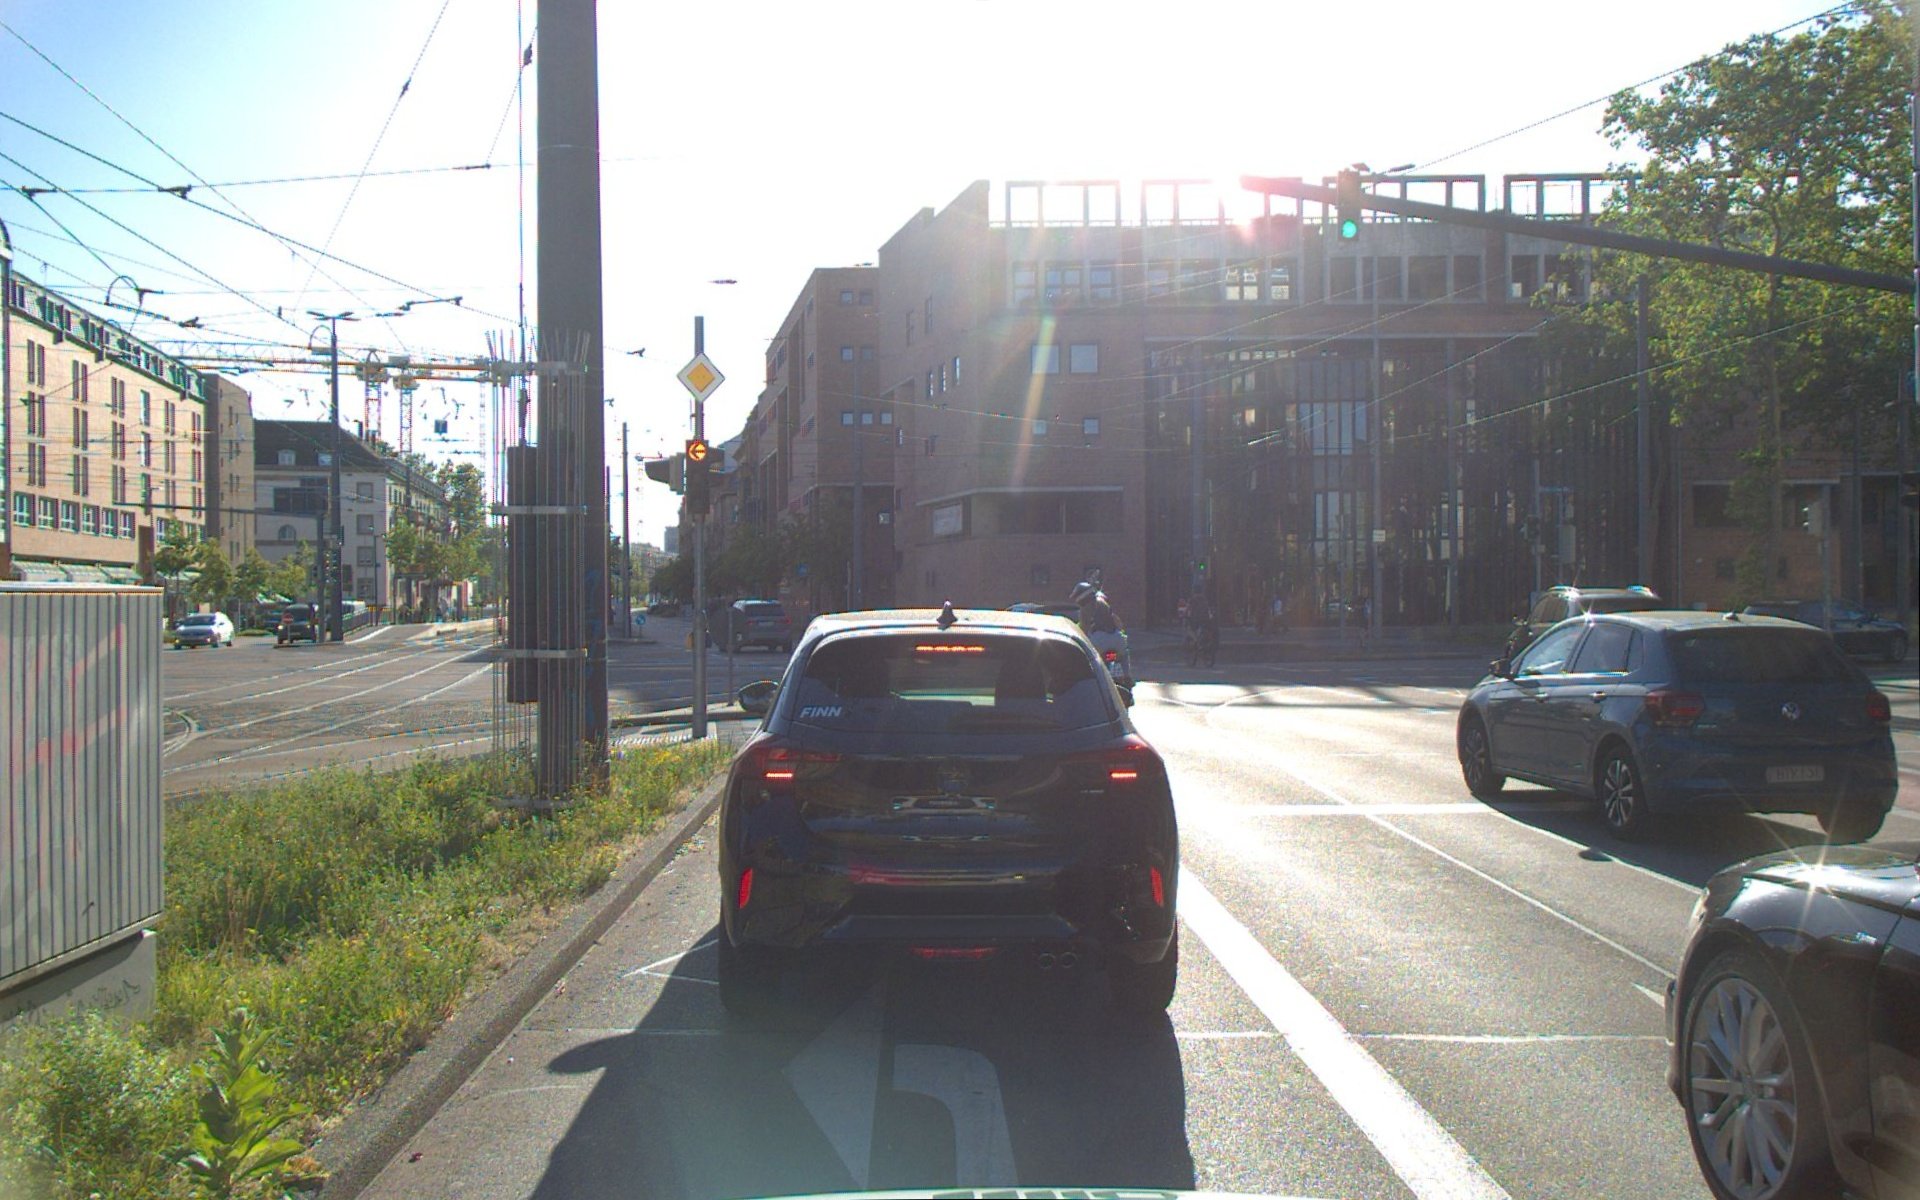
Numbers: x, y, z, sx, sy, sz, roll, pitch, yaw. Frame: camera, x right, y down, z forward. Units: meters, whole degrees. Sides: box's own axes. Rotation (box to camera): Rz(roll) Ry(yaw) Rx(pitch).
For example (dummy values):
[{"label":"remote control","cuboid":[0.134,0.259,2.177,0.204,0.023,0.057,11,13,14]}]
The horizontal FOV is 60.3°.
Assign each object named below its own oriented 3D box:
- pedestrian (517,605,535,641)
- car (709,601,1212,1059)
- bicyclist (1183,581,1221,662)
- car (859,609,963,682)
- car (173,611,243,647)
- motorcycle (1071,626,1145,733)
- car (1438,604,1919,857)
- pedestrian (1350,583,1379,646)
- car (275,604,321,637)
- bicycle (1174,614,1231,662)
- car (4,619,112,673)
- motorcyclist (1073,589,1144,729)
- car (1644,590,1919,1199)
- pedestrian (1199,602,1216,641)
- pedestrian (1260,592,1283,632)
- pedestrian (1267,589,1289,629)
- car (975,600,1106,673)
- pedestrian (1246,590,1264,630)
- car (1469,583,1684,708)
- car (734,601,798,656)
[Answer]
[{"label":"pedestrian","cuboid":[-20.046,1.060,76.400,0.752,1.669,0.742,-1,0,-11]},{"label":"car","cuboid":[0.016,0.744,7.336,1.615,1.458,4.000,0,0,0]},{"label":"bicyclist","cuboid":[5.508,0.481,37.680,0.567,1.822,0.861,-1,0,-12]},{"label":"car","cuboid":[-1.067,0.893,33.896,1.705,1.373,3.993,0,0,-8]},{"label":"car","cuboid":[-32.775,1.255,72.164,1.542,1.474,3.996,-1,0,-5]},{"label":"motorcycle","cuboid":[1.710,0.897,19.345,0.759,1.135,1.970,-1,0,2]},{"label":"car","cuboid":[5.031,0.794,11.947,1.772,1.483,3.997,1,0,-4]},{"label":"pedestrian","cuboid":[11.612,0.420,47.512,0.692,1.789,0.560,-1,0,25]},{"label":"car","cuboid":[-31.274,0.947,78.258,1.718,1.531,3.861,-1,0,-18]},{"label":"bicycle","cuboid":[5.506,0.848,37.682,0.483,1.015,2.320,-1,0,-13]},{"label":"car","cuboid":[-29.551,1.482,54.338,1.960,1.624,4.721,-1,0,-14]},{"label":"motorcyclist","cuboid":[1.685,0.654,18.891,0.729,1.557,1.021,-1,0,2]},{"label":"car","cuboid":[2.830,0.718,2.396,1.774,1.518,4.496,-2,0,0]},{"label":"pedestrian","cuboid":[9.383,0.808,62.662,0.519,1.455,0.598,-1,0,-1]},{"label":"pedestrian","cuboid":[12.810,0.499,68.056,0.881,1.645,0.561,-1,0,8]},{"label":"pedestrian","cuboid":[13.229,0.389,68.829,0.881,1.645,0.561,-1,0,8]},{"label":"car","cuboid":[1.700,0.767,36.251,1.777,1.483,3.984,1,0,-15]},{"label":"pedestrian","cuboid":[12.484,0.420,70.075,0.722,1.645,0.561,-1,0,8]},{"label":"car","cuboid":[9.547,0.654,26.003,1.952,1.780,4.330,-1,0,3]},{"label":"car","cuboid":[-6.289,0.882,53.312,1.707,1.680,3.988,0,0,-12]}]
